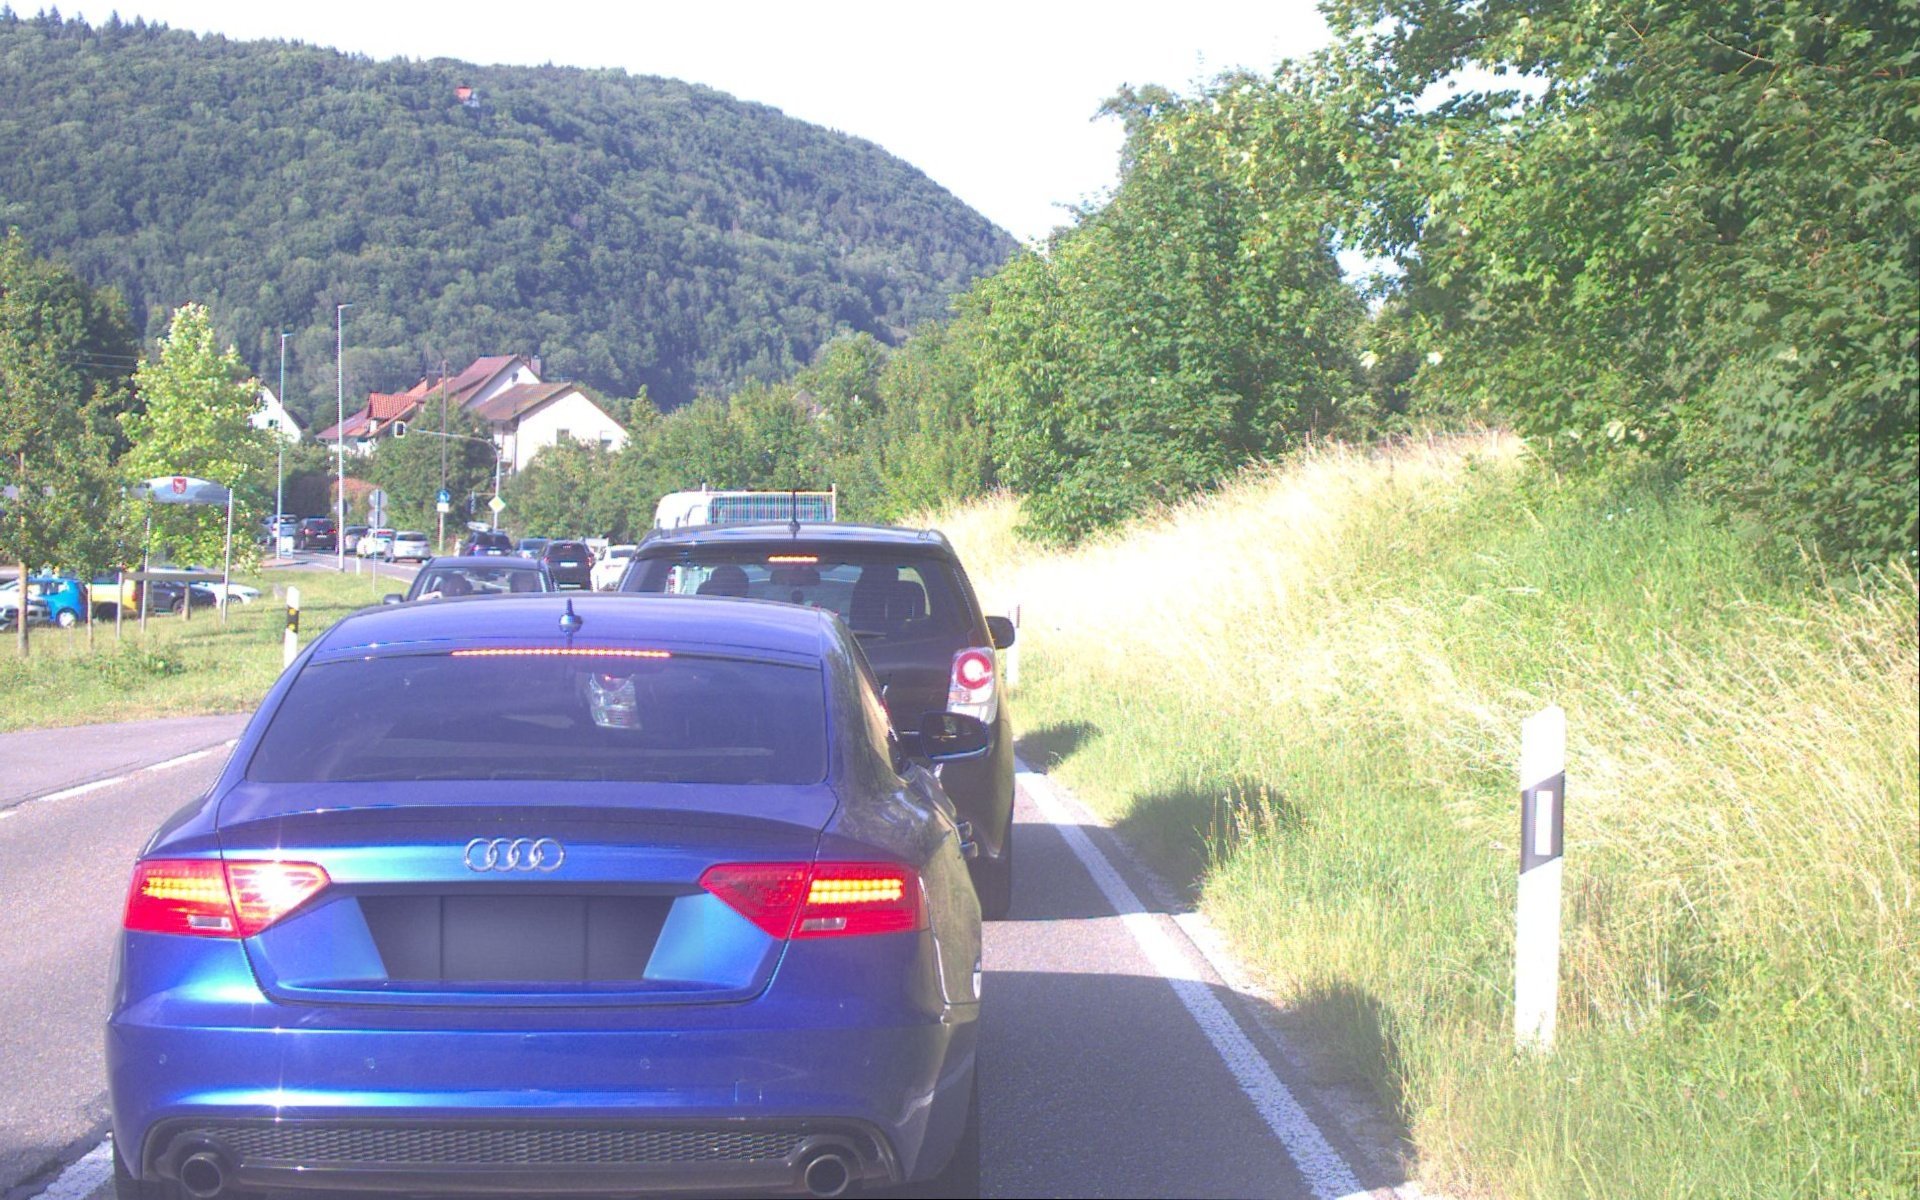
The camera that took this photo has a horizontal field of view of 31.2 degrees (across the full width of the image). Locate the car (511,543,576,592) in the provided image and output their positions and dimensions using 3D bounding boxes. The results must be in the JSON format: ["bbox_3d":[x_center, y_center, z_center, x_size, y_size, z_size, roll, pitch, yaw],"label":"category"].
[{"bbox_3d":[-14.892,-1.173,122.854,1.845,1.706,4.001,1,0,-13],"label":"car"}]

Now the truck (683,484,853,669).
[{"bbox_3d":[-2.783,-0.351,51.213,2.230,2.561,6.104,1,0,-1],"label":"truck"}]

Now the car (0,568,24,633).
[{"bbox_3d":[-27.367,-0.014,92.261,3.986,1.705,2.000,1,0,-3],"label":"car"}]

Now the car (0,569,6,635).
[{"bbox_3d":[-26.845,0.025,88.605,3.986,1.705,2.000,1,0,-3],"label":"car"}]

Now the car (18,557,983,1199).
[{"bbox_3d":[-0.834,0.629,8.218,1.754,1.425,3.846,1,0,0],"label":"car"}]

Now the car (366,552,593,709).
[{"bbox_3d":[-4.656,0.264,33.814,1.704,1.425,4.051,1,0,-1],"label":"car"}]

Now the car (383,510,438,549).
[{"bbox_3d":[-25.110,-3.205,156.967,1.845,1.706,4.001,1,0,-18],"label":"car"}]

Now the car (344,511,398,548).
[{"bbox_3d":[-28.465,-3.388,166.037,1.845,1.706,4.001,1,0,-20],"label":"car"}]

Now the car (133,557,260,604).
[{"bbox_3d":[-26.315,-0.673,118.568,3.986,1.573,1.753,1,0,-3],"label":"car"}]

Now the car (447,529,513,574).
[{"bbox_3d":[-18.959,-1.915,135.753,1.845,1.706,4.001,1,0,-18],"label":"car"}]

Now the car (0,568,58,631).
[{"bbox_3d":[-27.305,-0.042,95.546,3.986,1.705,2.000,1,0,-3],"label":"car"}]

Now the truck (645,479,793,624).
[{"bbox_3d":[-4.614,-0.893,64.719,2.229,2.561,6.709,1,0,-8],"label":"truck"}]

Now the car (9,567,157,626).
[{"bbox_3d":[-26.514,-0.106,104.008,3.986,1.705,2.000,1,0,-3],"label":"car"}]

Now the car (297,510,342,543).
[{"bbox_3d":[-34.833,-3.982,186.910,1.845,1.706,4.001,1,0,-18],"label":"car"}]

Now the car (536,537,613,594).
[{"bbox_3d":[-11.877,-1.062,105.735,1.845,1.706,4.001,1,0,-14],"label":"car"}]

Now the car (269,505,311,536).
[{"bbox_3d":[-38.193,-4.501,196.021,1.845,1.706,4.001,1,0,-18],"label":"car"}]

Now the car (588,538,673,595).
[{"bbox_3d":[-8.952,-0.913,93.192,1.845,1.477,4.001,1,0,-12],"label":"car"}]

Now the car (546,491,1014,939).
[{"bbox_3d":[-0.673,0.418,14.965,1.754,1.675,3.846,1,0,0],"label":"car"}]

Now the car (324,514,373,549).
[{"bbox_3d":[-31.268,-3.496,175.701,1.845,1.706,4.001,1,0,-18],"label":"car"}]

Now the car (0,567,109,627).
[{"bbox_3d":[-27.315,-0.093,101.333,3.986,1.705,2.000,1,0,-3],"label":"car"}]
